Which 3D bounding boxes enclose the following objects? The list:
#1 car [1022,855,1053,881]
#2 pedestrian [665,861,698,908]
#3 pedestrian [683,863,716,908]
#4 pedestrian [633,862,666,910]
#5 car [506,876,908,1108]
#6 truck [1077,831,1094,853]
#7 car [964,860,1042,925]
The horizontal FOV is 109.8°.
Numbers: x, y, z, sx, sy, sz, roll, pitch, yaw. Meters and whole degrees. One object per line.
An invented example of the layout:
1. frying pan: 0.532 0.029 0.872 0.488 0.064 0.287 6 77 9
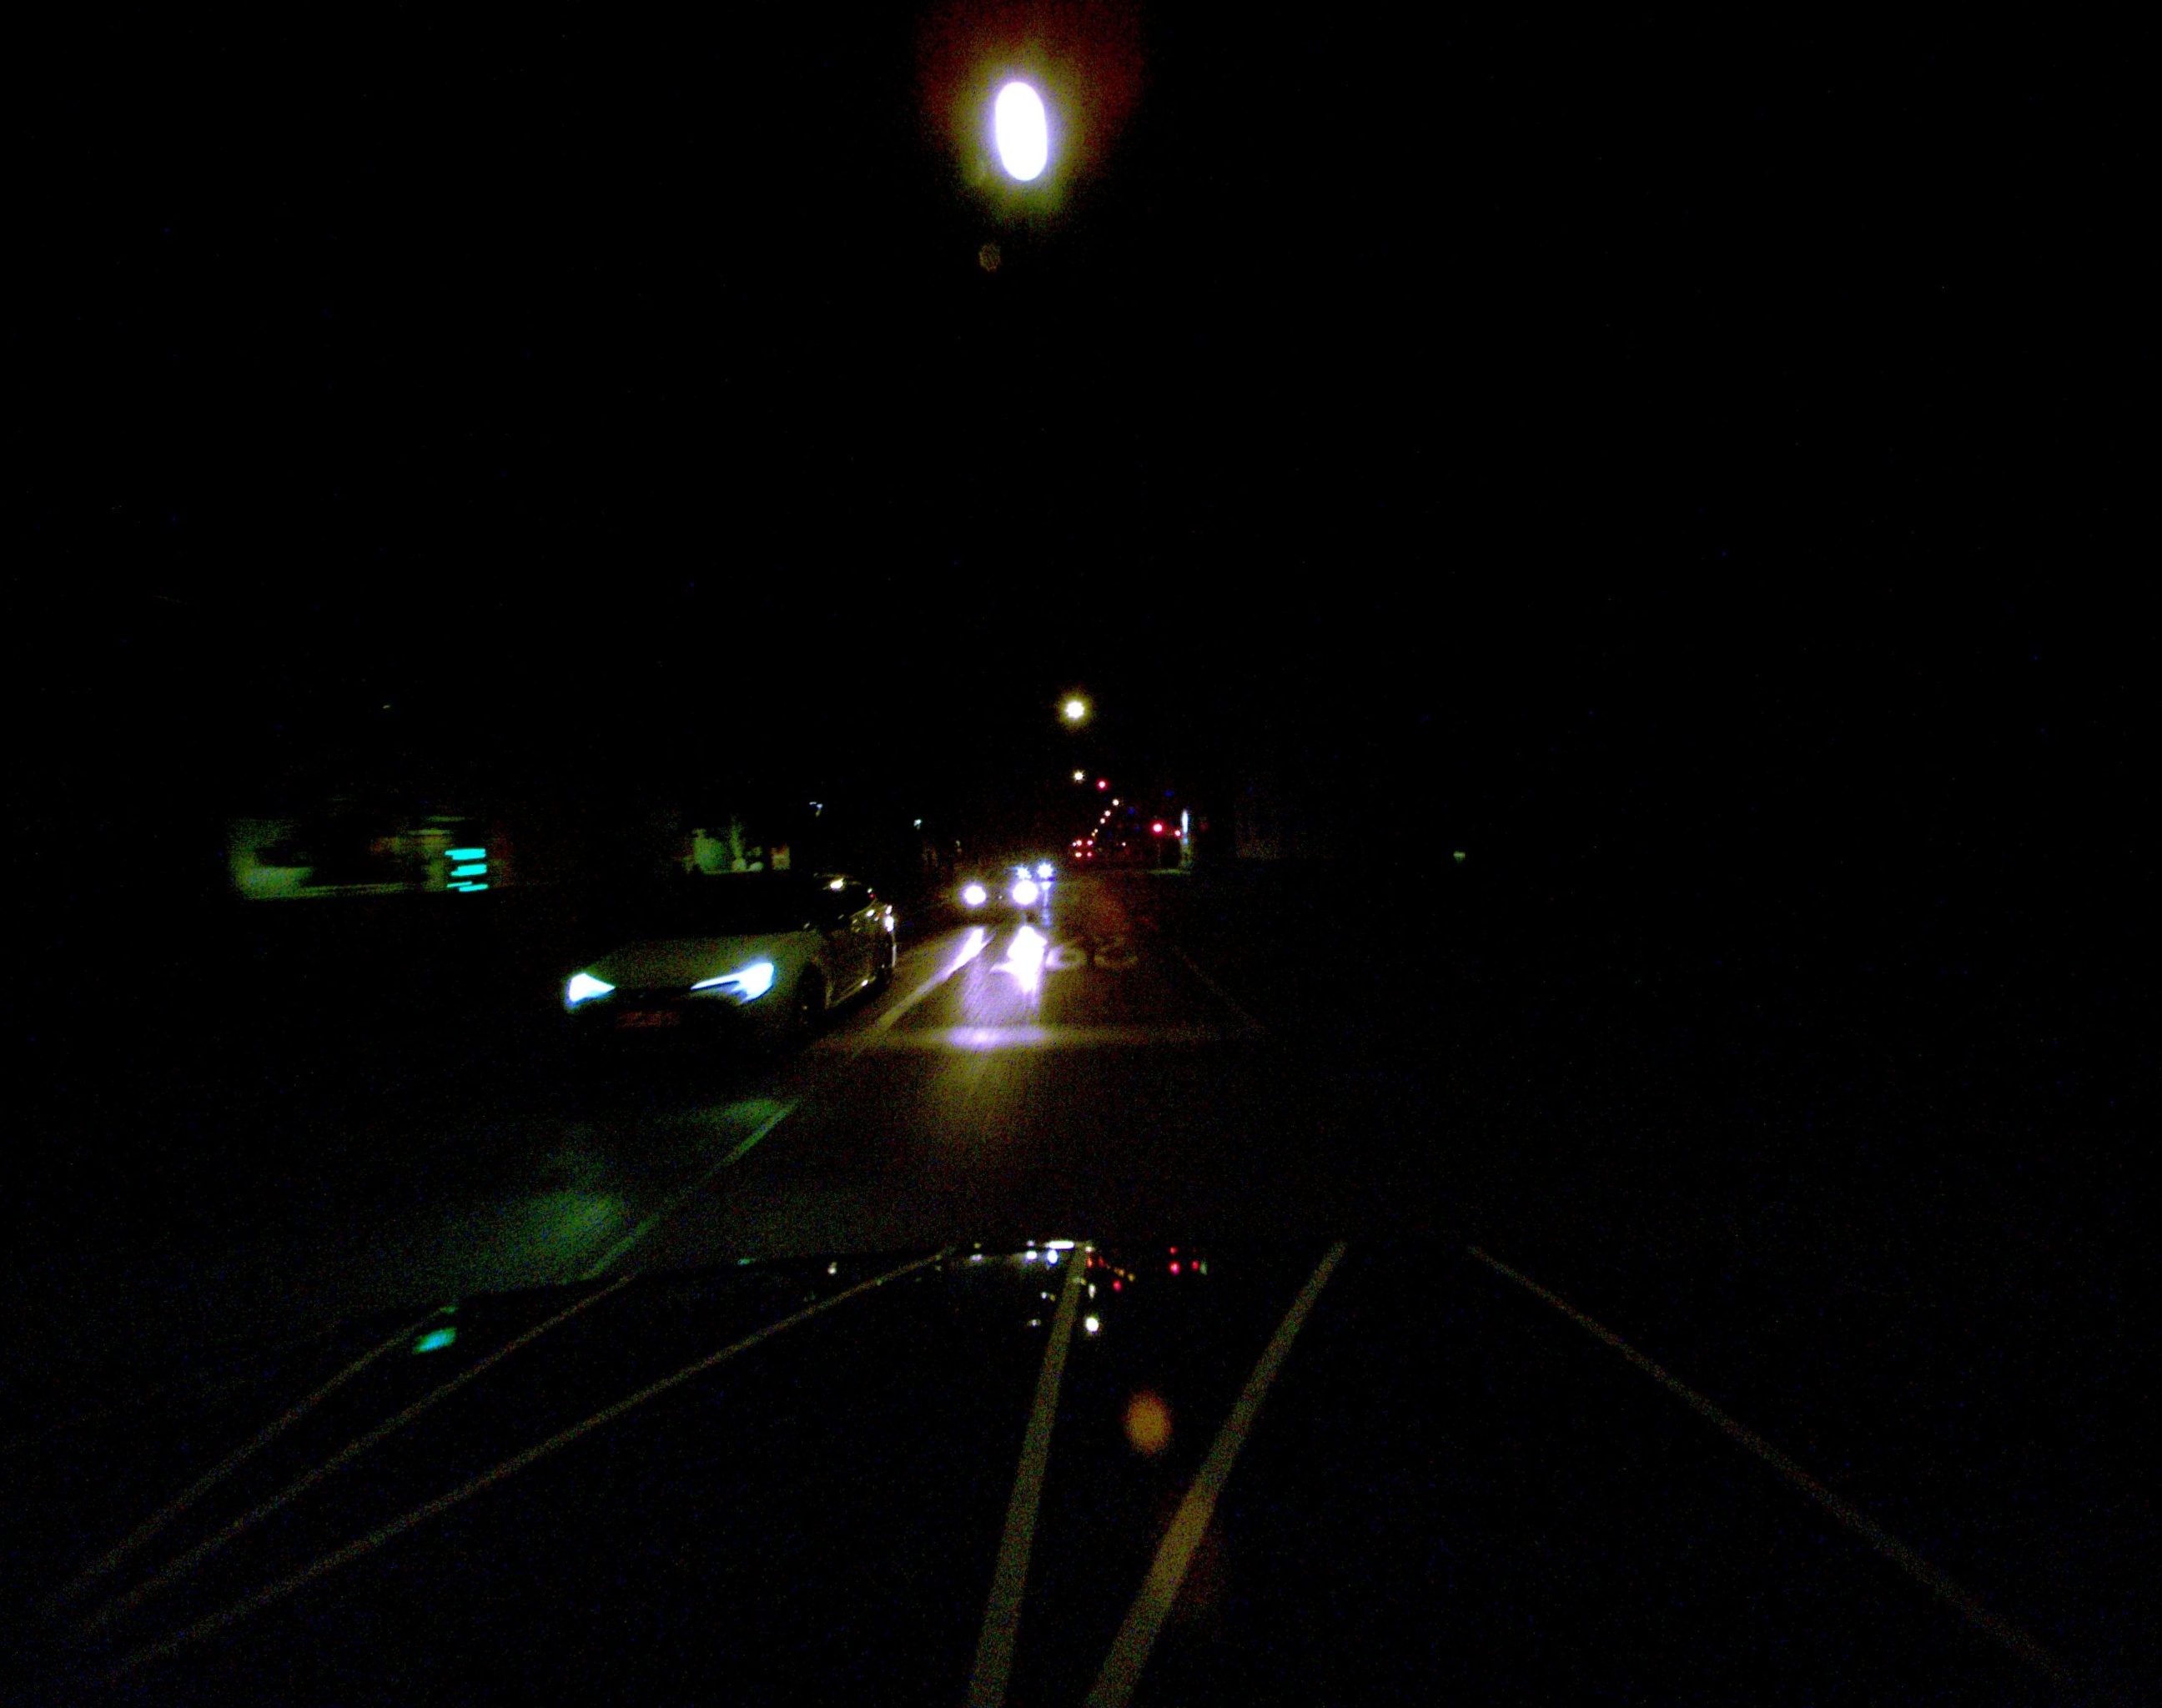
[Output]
1. car: -2.758 0.860 48.763 1.729 1.455 3.999 -4 1 0
2. pedestrian: -15.757 1.194 29.980 0.721 1.778 0.970 -2 1 1
3. pedestrian: -14.881 1.210 29.681 0.737 1.707 0.985 -2 1 1
4. pedestrian: -16.796 1.232 29.581 0.676 1.806 0.906 -2 1 1
5. car: -3.184 1.055 7.687 1.729 1.421 4.498 -3 0 1
6. truck: 1.032 -2.746 174.509 3.517 4.558 9.039 -4 1 0
7. car: -1.989 0.951 20.433 1.634 1.430 3.839 -3 1 0
